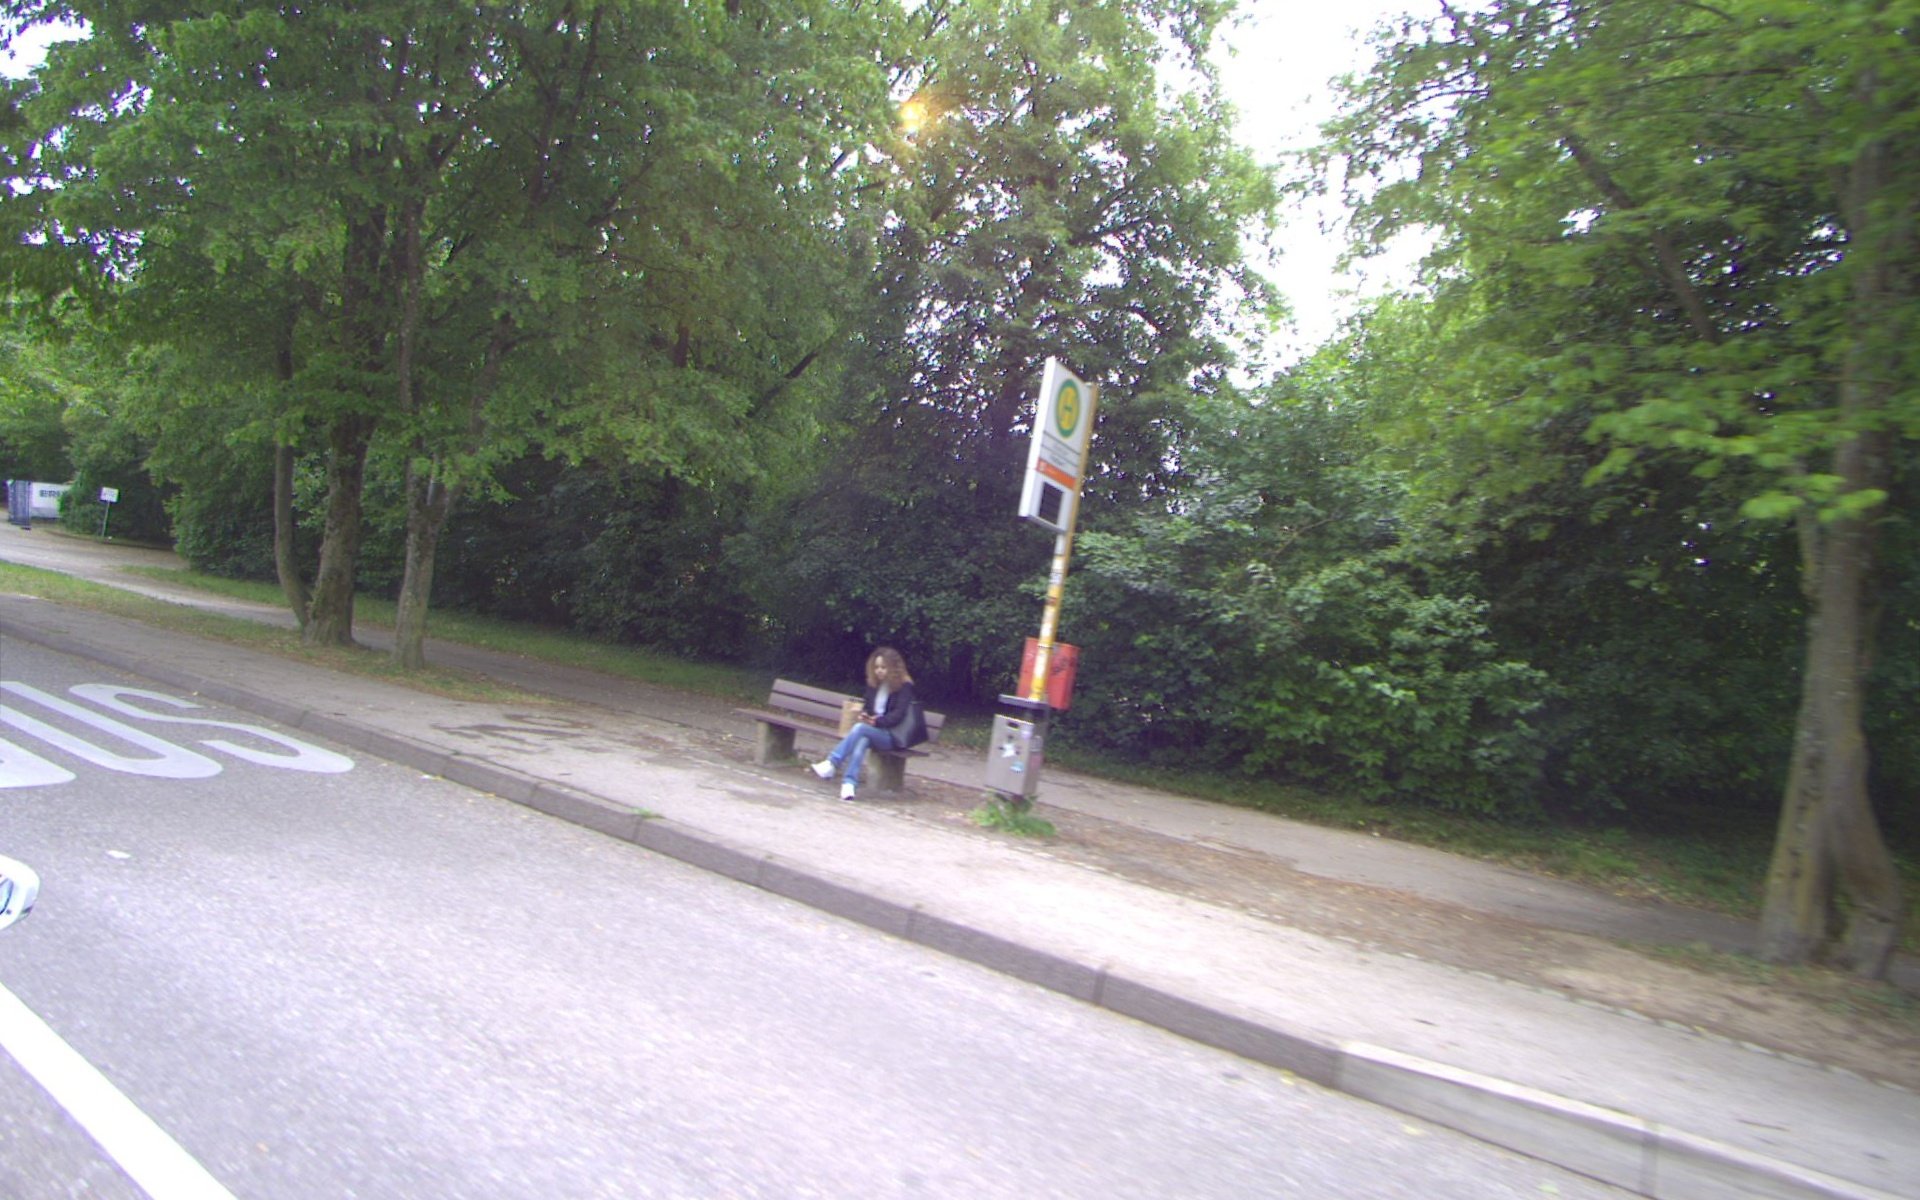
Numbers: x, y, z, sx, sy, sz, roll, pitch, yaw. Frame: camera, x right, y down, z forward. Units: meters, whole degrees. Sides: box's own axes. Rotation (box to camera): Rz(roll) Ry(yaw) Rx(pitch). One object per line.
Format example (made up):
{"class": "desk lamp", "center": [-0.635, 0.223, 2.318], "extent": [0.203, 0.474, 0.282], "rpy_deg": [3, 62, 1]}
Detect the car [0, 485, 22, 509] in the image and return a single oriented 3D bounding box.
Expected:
{"class": "car", "center": [-66.707, -7.303, 68.266], "extent": [1.768, 1.425, 4.000], "rpy_deg": [8, -2, 25]}

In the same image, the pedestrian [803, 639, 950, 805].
{"class": "pedestrian", "center": [-0.656, 0.979, 8.208], "extent": [0.570, 1.196, 1.066], "rpy_deg": [7, -1, 28]}
